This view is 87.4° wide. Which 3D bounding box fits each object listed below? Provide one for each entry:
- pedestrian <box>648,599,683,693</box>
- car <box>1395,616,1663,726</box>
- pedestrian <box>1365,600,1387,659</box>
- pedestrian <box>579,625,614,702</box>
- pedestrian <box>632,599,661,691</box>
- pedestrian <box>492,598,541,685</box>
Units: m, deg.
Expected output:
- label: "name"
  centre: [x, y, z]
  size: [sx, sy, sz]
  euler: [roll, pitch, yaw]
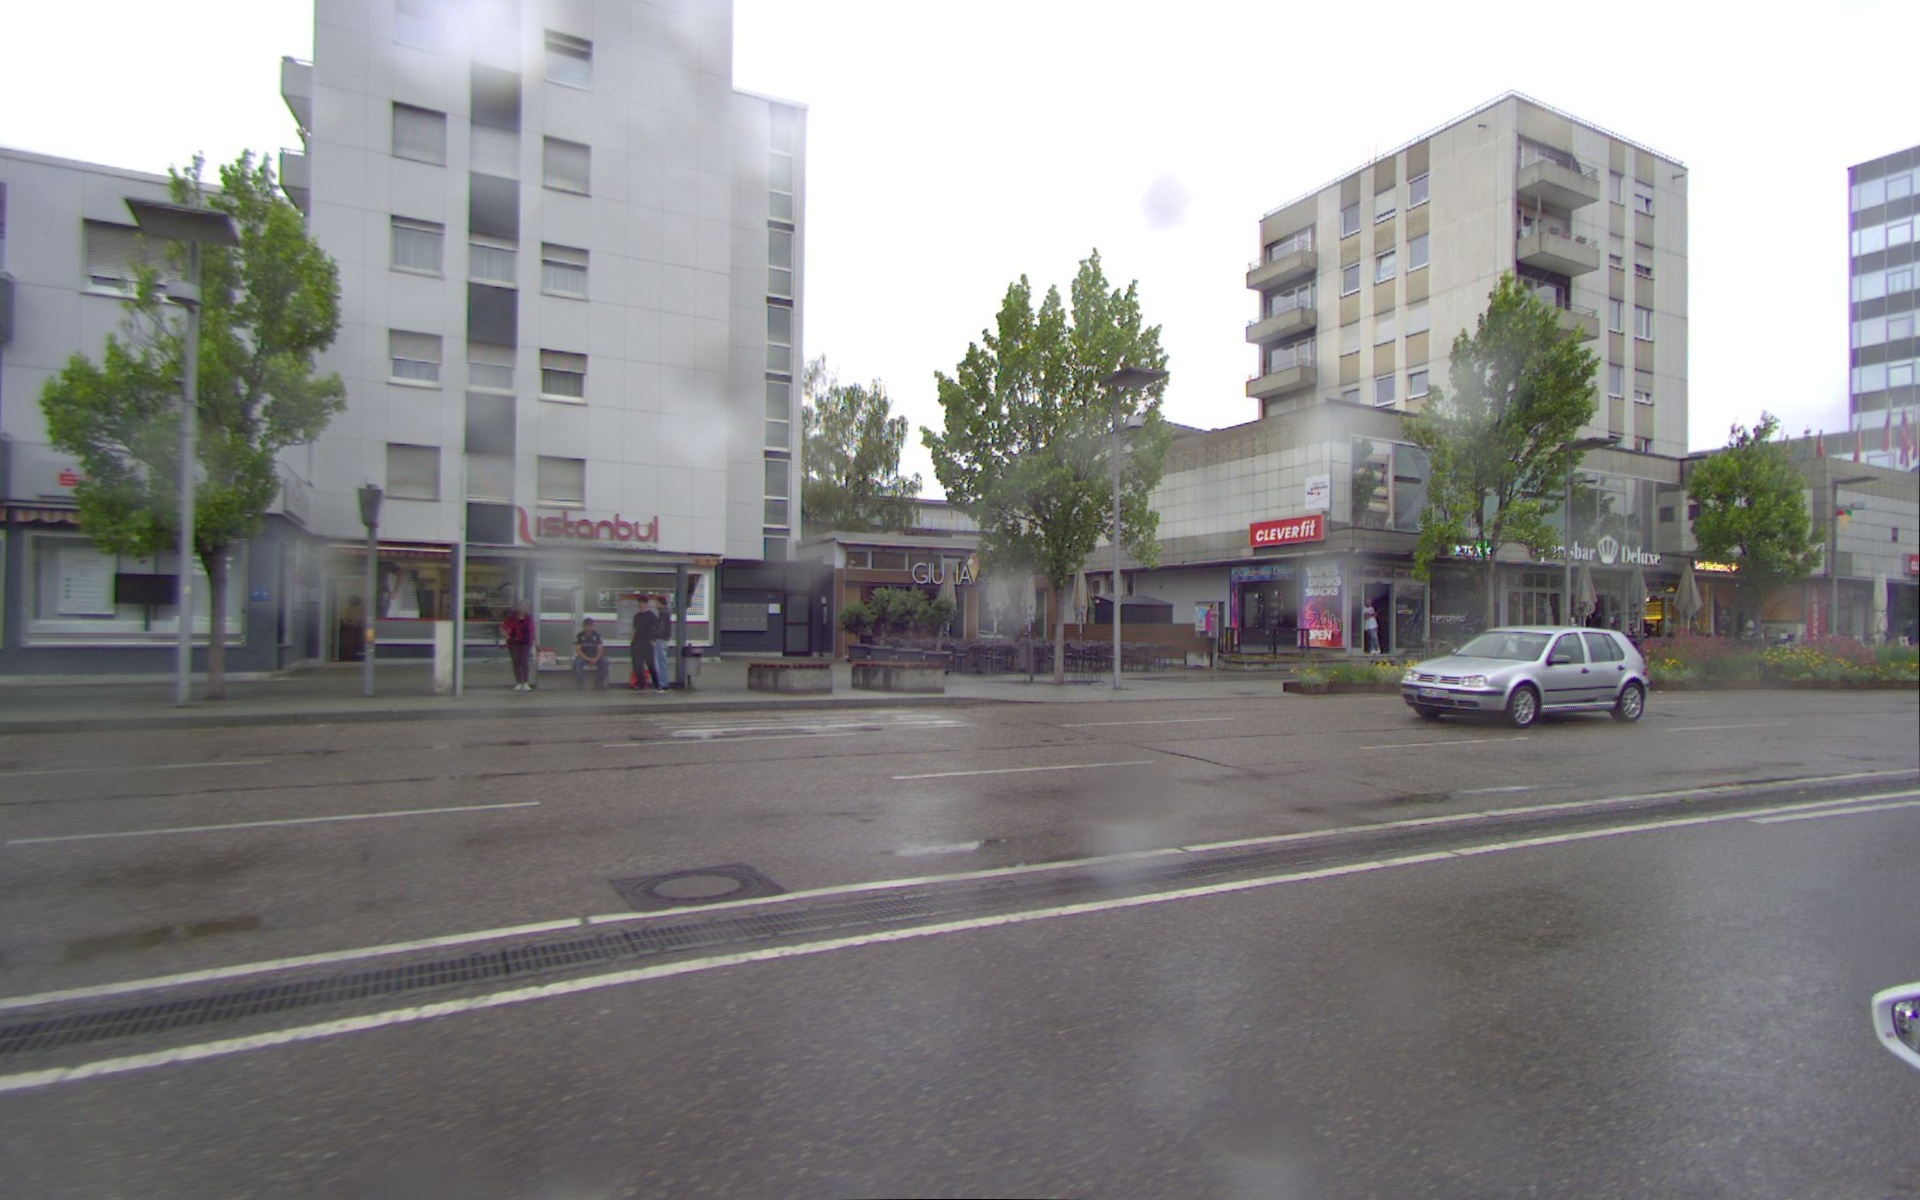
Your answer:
- label: "pedestrian"
  centre: [-5.400, 0.835, 18.419]
  size: [0.530, 1.681, 0.476]
  euler: [1, -1, -27]
- label: "car"
  centre: [8.698, 1.036, 15.310]
  size: [4.053, 1.485, 1.693]
  euler: [2, -2, -29]
- label: "pedestrian"
  centre: [13.303, 0.946, 32.123]
  size: [0.493, 1.872, 0.425]
  euler: [1, -1, -17]
- label: "pedestrian"
  centre: [-6.699, 1.160, 18.516]
  size: [0.570, 1.370, 0.534]
  euler: [1, -1, -22]
- label: "pedestrian"
  centre: [-5.888, 0.838, 18.861]
  size: [0.472, 1.681, 0.534]
  euler: [1, -1, -21]
- label: "pedestrian"
  centre: [-7.940, 0.727, 17.998]
  size: [0.528, 1.525, 0.612]
  euler: [0, -1, 39]
